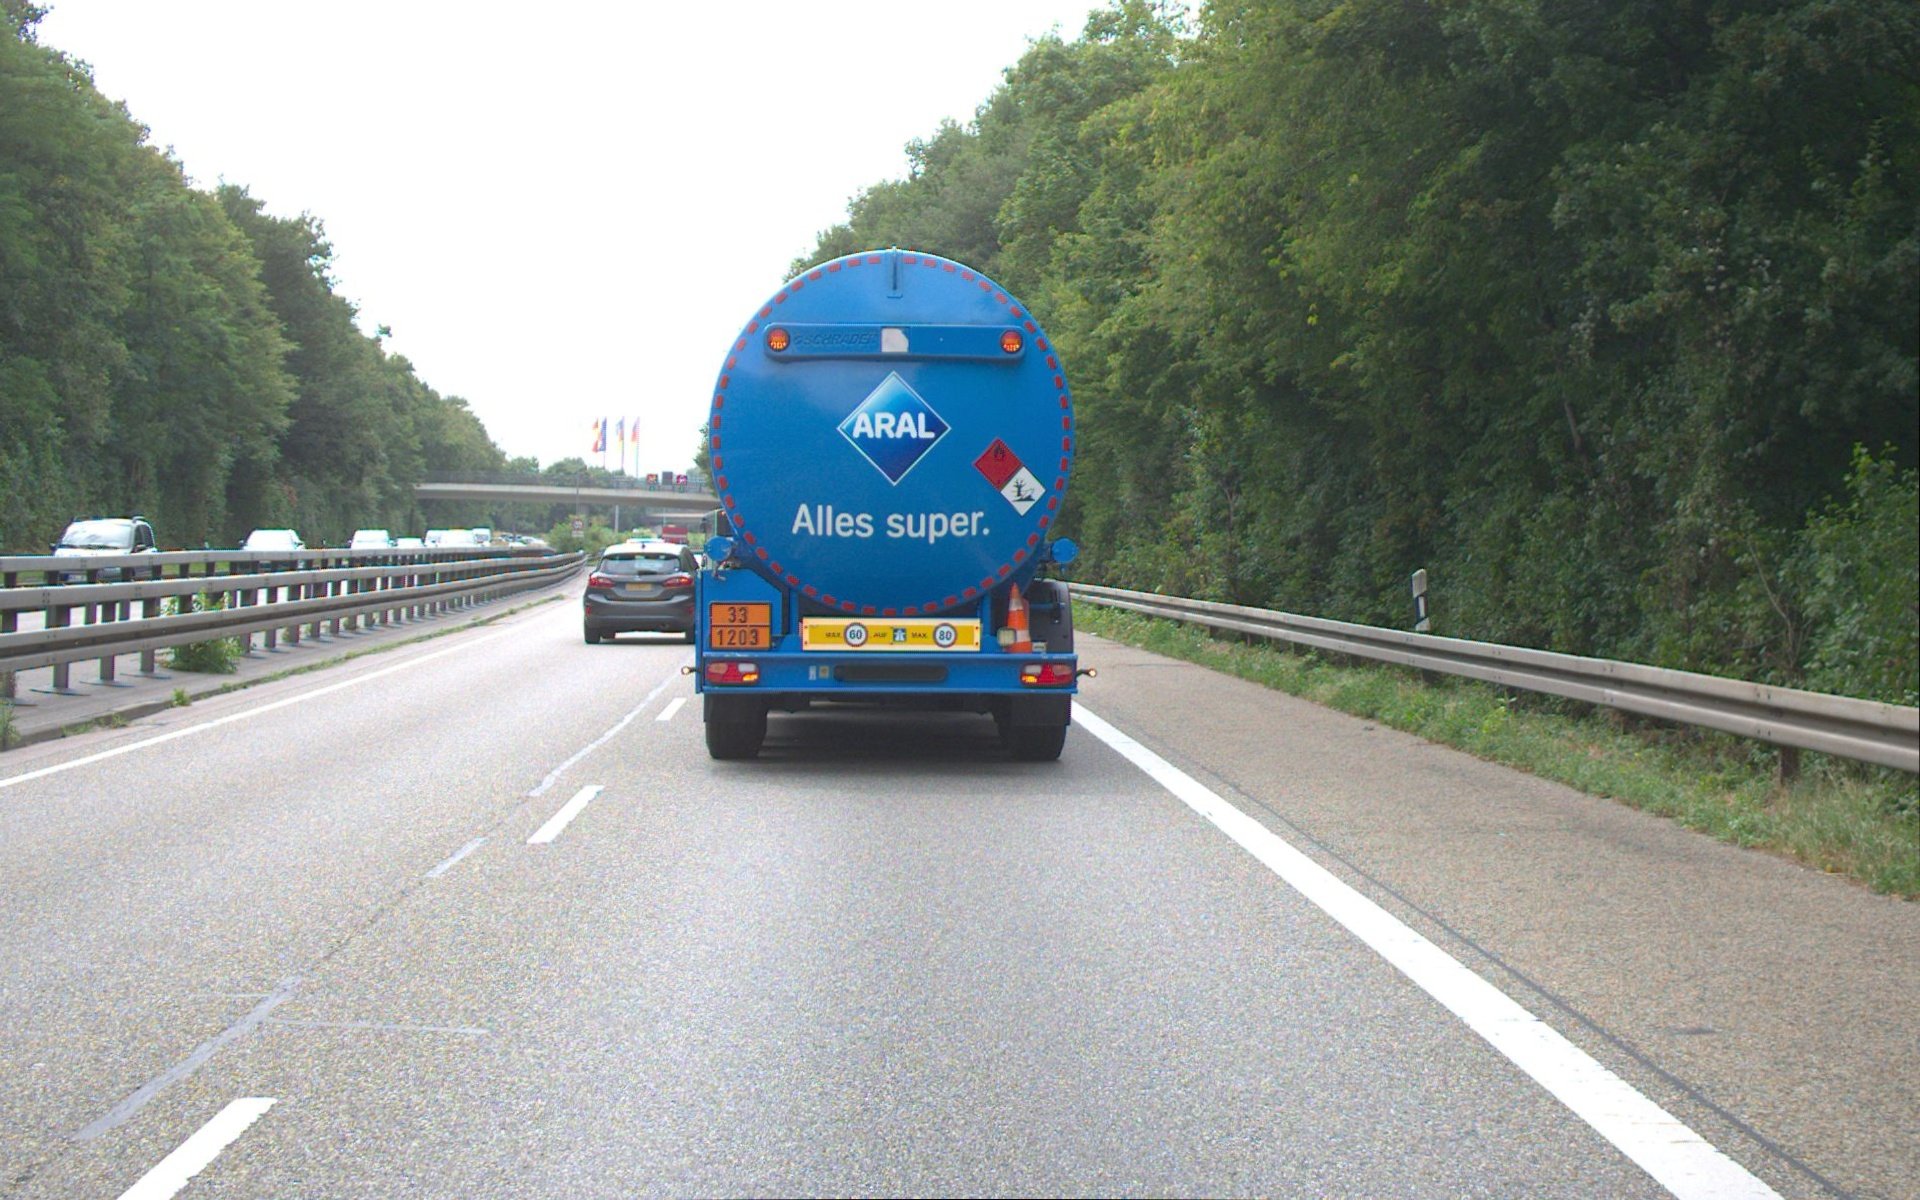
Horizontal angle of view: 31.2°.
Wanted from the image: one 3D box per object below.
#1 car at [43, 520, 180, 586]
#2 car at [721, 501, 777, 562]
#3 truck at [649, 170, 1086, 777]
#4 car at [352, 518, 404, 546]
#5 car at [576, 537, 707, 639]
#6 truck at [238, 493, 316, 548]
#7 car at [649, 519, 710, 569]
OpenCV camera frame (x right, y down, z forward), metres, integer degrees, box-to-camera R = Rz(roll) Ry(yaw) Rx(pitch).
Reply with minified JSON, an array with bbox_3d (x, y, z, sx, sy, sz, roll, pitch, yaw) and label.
[{"bbox_3d":[-15.762,-0.887,64.038,1.742,1.185,4.291,0,1,-3],"label":"car"},{"bbox_3d":[-7.883,-2.547,128.221,1.993,2.237,4.001,0,1,-5],"label":"car"},{"bbox_3d":[-0.578,-0.887,25.570,2.755,3.833,7.689,0,1,0],"label":"truck"},{"bbox_3d":[-25.605,-2.990,151.399,1.742,1.185,4.291,0,1,-2],"label":"car"},{"bbox_3d":[-4.728,-0.210,51.511,1.826,1.453,4.640,0,1,-4],"label":"car"},{"bbox_3d":[-21.978,-2.542,110.736,1.993,1.733,4.001,0,1,-4],"label":"truck"},{"bbox_3d":[-9.121,-1.824,111.973,1.826,1.604,4.168,0,1,-3],"label":"car"}]
